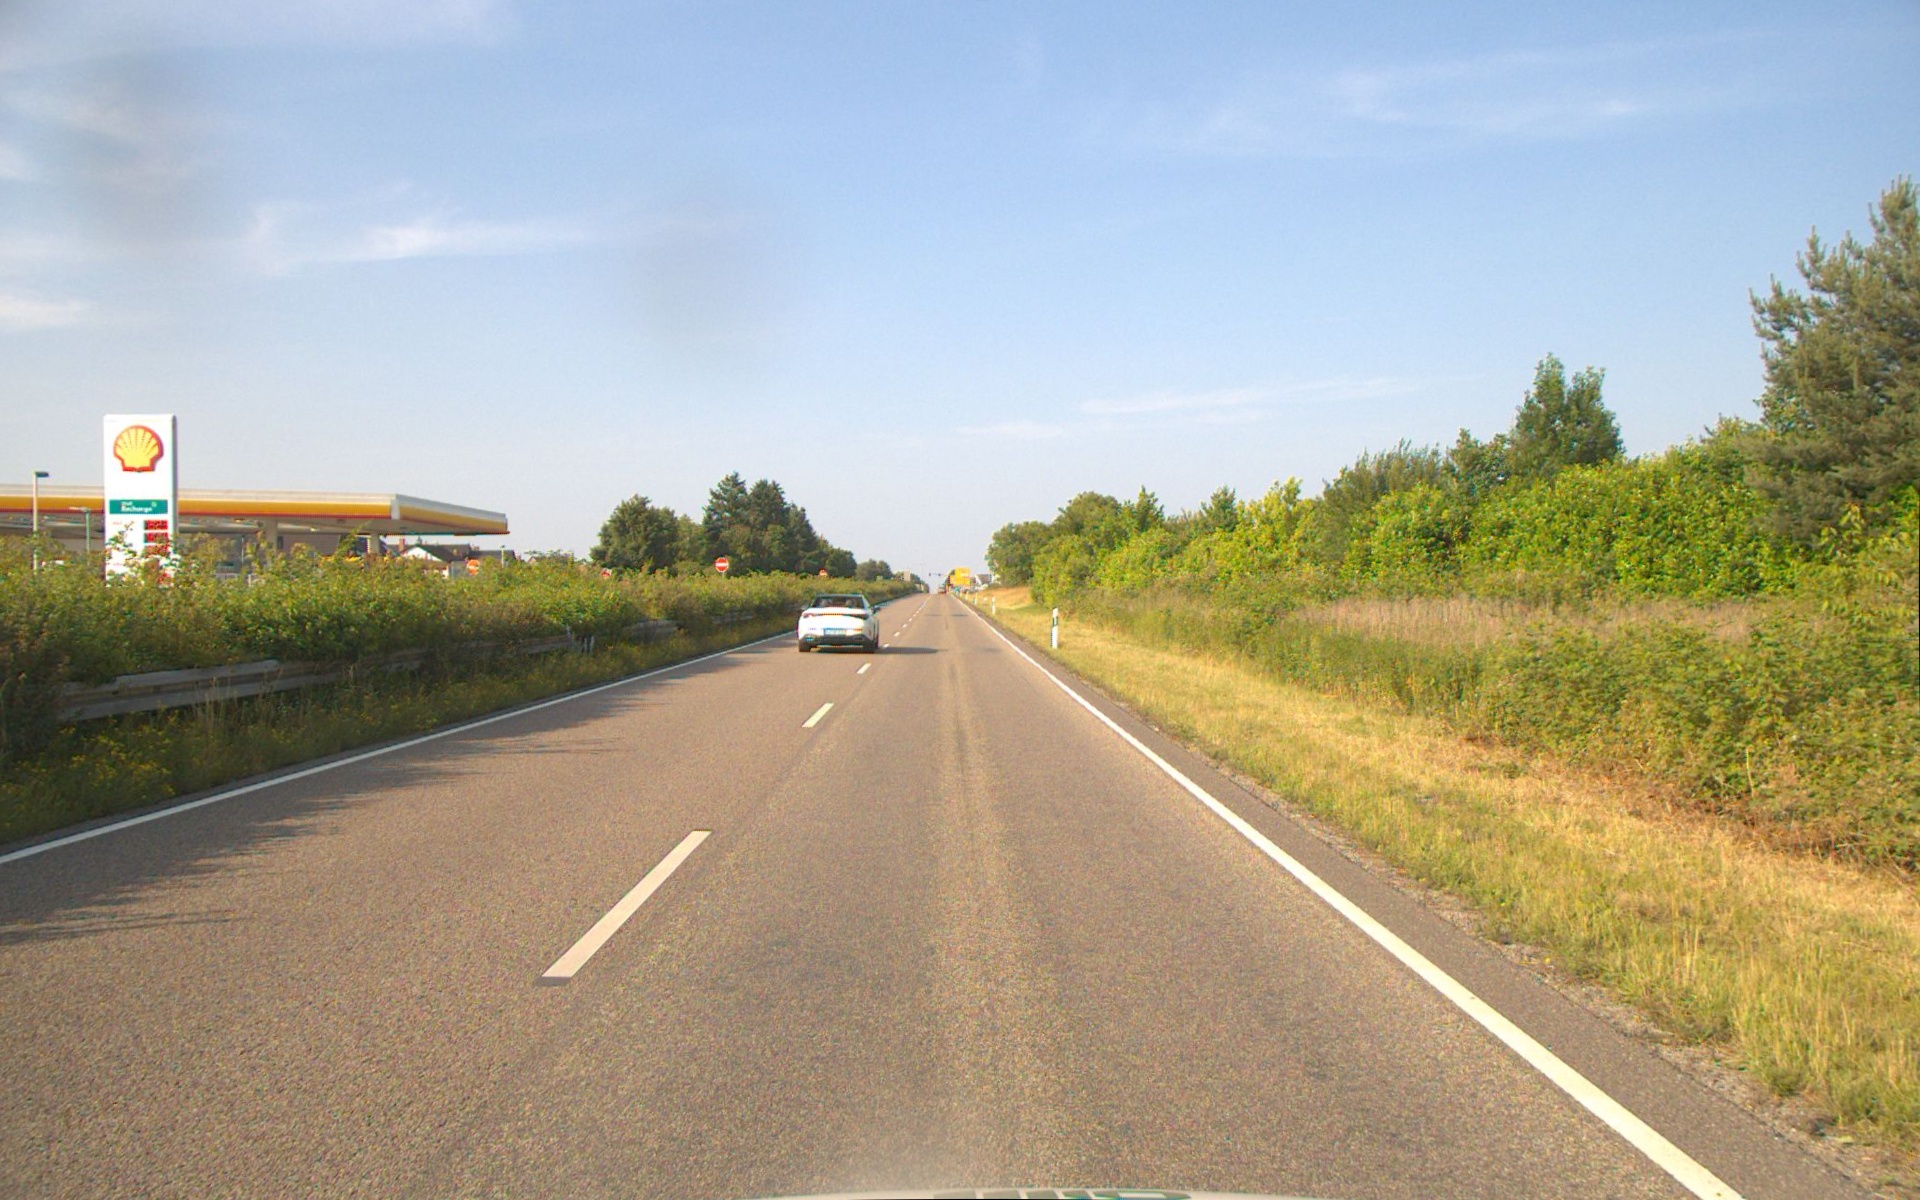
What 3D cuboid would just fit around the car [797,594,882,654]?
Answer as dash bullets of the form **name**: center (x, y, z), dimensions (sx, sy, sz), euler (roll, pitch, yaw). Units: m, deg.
- **car**: center (-2.928, 0.568, 41.095), dimensions (1.735, 1.361, 4.949), euler (1, 0, 0)
